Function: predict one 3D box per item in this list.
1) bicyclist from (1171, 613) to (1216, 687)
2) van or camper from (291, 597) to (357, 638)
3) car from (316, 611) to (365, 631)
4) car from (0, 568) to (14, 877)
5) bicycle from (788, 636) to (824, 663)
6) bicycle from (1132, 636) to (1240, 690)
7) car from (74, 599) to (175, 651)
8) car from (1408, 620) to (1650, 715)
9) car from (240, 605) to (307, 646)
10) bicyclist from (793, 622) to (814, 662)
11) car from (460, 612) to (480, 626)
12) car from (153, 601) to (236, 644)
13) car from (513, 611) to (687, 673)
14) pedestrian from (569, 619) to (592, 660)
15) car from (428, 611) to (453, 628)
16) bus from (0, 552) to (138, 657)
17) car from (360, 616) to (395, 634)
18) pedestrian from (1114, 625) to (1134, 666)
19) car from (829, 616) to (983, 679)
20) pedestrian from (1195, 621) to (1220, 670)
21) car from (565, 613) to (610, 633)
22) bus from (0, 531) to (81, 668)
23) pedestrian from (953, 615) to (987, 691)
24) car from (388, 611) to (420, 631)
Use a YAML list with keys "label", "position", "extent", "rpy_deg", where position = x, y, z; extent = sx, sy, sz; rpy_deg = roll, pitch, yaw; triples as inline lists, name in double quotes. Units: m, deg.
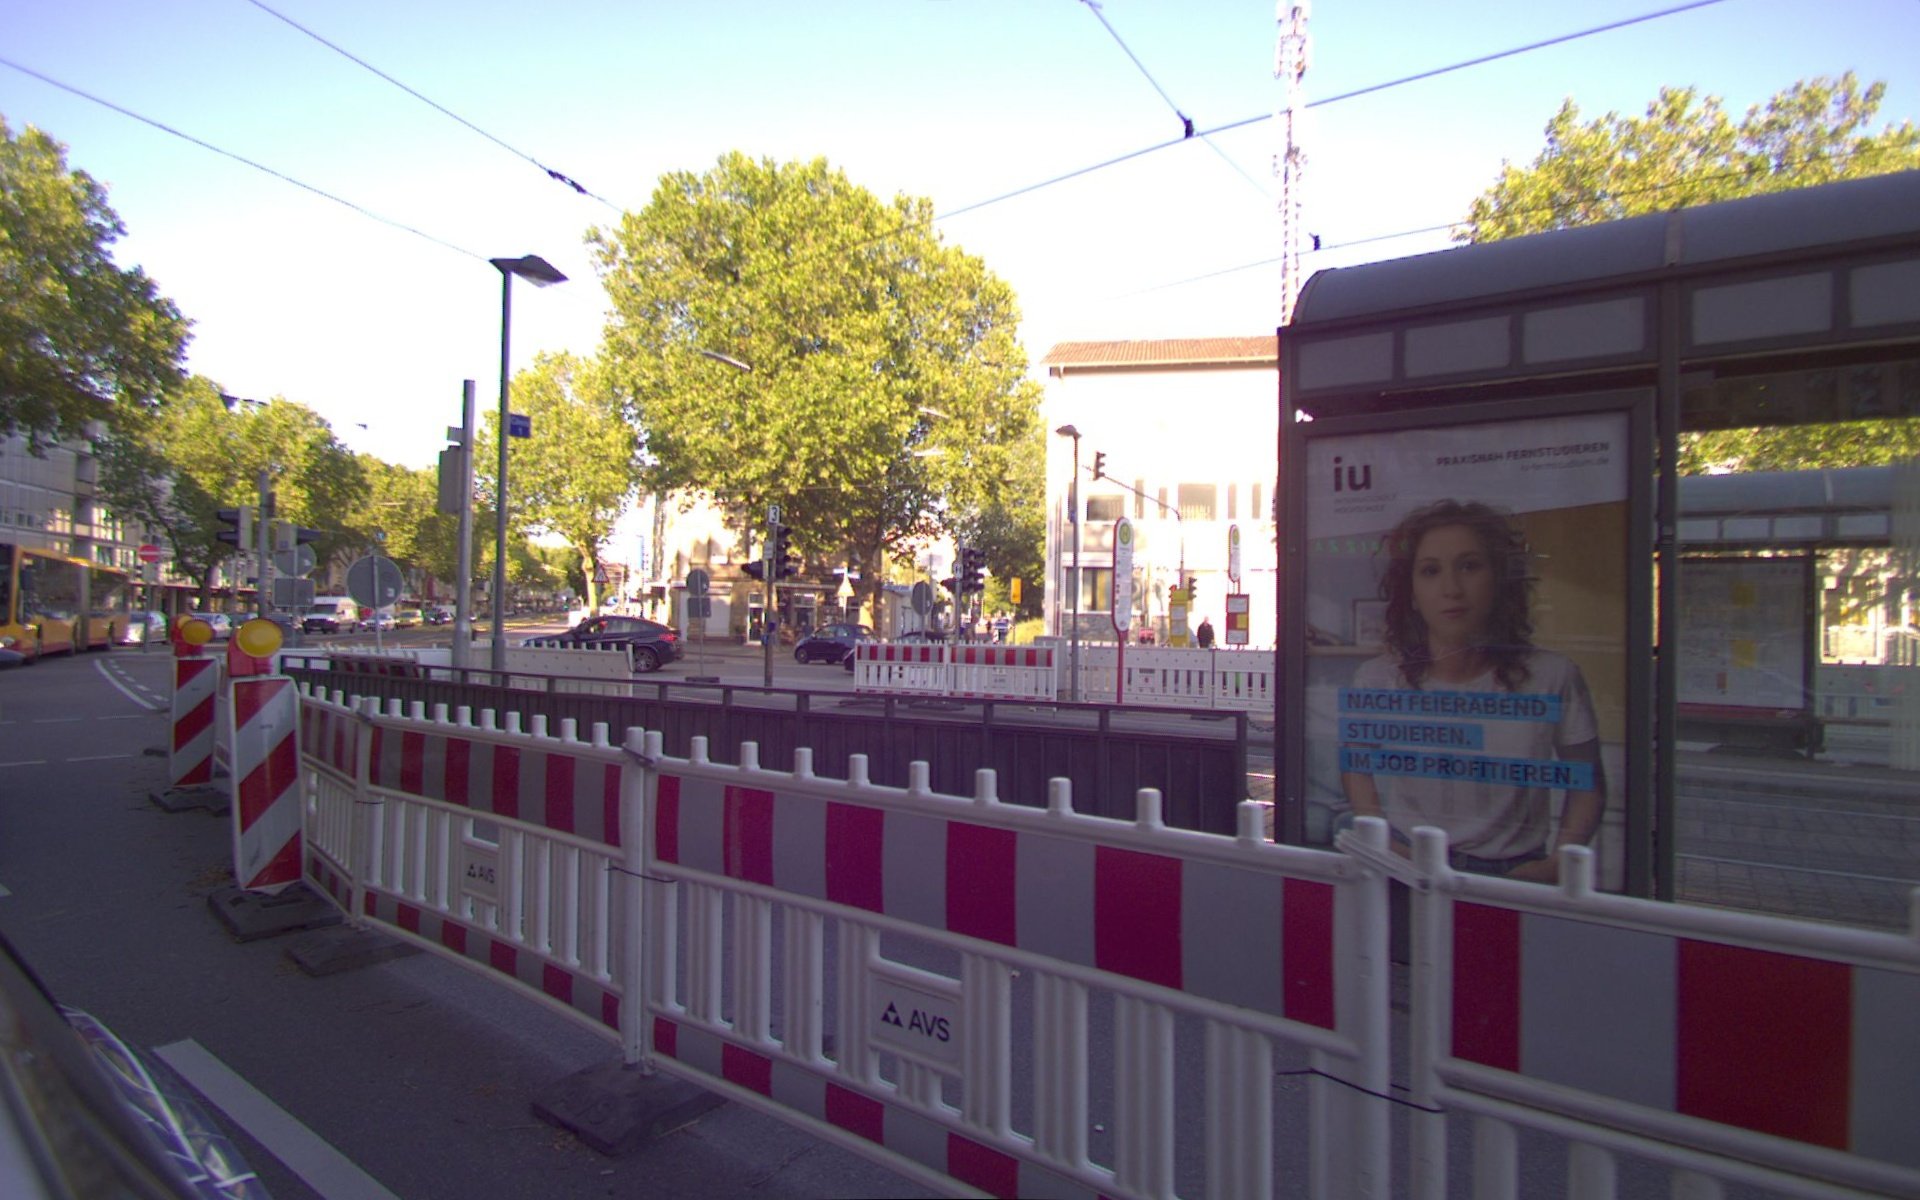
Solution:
- label: "bicyclist"
  position: [5.583, 1.179, 24.192]
  extent: [0.833, 1.741, 0.726]
  rpy_deg: [-1, -2, 37]
- label: "van or camper"
  position: [-44.972, 1.284, 71.748]
  extent: [2.385, 2.739, 6.150]
  rpy_deg: [1, -2, -17]
- label: "car"
  position: [-63.269, 2.139, 103.374]
  extent: [3.938, 2.029, 2.003]
  rpy_deg: [2, -2, -41]
- label: "car"
  position: [-7.403, 0.668, 6.319]
  extent: [3.999, 1.719, 1.817]
  rpy_deg: [-1, -2, 42]
- label: "bicycle"
  position: [-6.344, 2.015, 41.739]
  extent: [1.621, 1.073, 0.543]
  rpy_deg: [-1, -2, 42]
- label: "bicycle"
  position: [5.427, 1.489, 24.395]
  extent: [2.476, 1.217, 0.683]
  rpy_deg: [0, -2, 37]
- label: "car"
  position: [-34.798, 1.053, 42.292]
  extent: [1.965, 2.029, 4.111]
  rpy_deg: [1, -2, -20]
- label: "car"
  position: [11.287, 1.258, 20.187]
  extent: [3.994, 1.674, 1.895]
  rpy_deg: [0, -2, 38]
- label: "car"
  position: [-35.285, 1.314, 52.143]
  extent: [1.965, 2.029, 4.013]
  rpy_deg: [1, -2, -22]
- label: "bicyclist"
  position: [-6.463, 1.730, 41.839]
  extent: [0.643, 1.626, 0.544]
  rpy_deg: [-1, -2, 42]
- label: "car"
  position: [-64.669, 2.499, 133.503]
  extent: [1.810, 1.816, 4.143]
  rpy_deg: [1, -2, -18]
- label: "car"
  position: [-38.609, 1.134, 51.162]
  extent: [1.966, 2.029, 4.011]
  rpy_deg: [1, -2, -16]
- label: "car"
  position: [-10.187, 1.210, 29.026]
  extent: [4.483, 1.674, 2.005]
  rpy_deg: [1, -2, -13]
- label: "pedestrian"
  position: [-14.615, 1.521, 38.985]
  extent: [0.594, 1.545, 0.746]
  rpy_deg: [2, -2, -37]
- label: "car"
  position: [-57.797, 2.164, 112.623]
  extent: [1.810, 1.816, 4.143]
  rpy_deg: [1, -2, -18]
- label: "bus"
  position: [-30.193, 0.210, 33.934]
  extent: [2.676, 3.130, 8.623]
  rpy_deg: [2, -2, -30]
- label: "car"
  position: [-47.777, 2.044, 83.048]
  extent: [1.675, 1.481, 3.776]
  rpy_deg: [1, -2, -18]
- label: "pedestrian"
  position: [5.999, 1.665, 37.046]
  extent: [0.583, 1.466, 0.581]
  rpy_deg: [0, -2, 28]
- label: "car"
  position: [-1.528, 1.330, 29.033]
  extent: [3.968, 1.674, 1.988]
  rpy_deg: [0, -2, 19]
- label: "pedestrian"
  position: [8.126, 1.485, 33.209]
  extent: [0.649, 1.564, 0.563]
  rpy_deg: [0, -2, 29]
- label: "car"
  position: [-37.399, 2.329, 101.641]
  extent: [1.991, 2.029, 3.962]
  rpy_deg: [0, -2, 28]
- label: "bus"
  position: [-25.065, 0.012, 26.093]
  extent: [2.678, 3.130, 8.642]
  rpy_deg: [2, -2, -35]
- label: "pedestrian"
  position: [0.230, 1.254, 24.105]
  extent: [0.545, 1.760, 0.693]
  rpy_deg: [1, -2, -23]
- label: "car"
  position: [-51.891, 1.996, 94.507]
  extent: [1.810, 1.816, 4.143]
  rpy_deg: [1, -2, -18]
